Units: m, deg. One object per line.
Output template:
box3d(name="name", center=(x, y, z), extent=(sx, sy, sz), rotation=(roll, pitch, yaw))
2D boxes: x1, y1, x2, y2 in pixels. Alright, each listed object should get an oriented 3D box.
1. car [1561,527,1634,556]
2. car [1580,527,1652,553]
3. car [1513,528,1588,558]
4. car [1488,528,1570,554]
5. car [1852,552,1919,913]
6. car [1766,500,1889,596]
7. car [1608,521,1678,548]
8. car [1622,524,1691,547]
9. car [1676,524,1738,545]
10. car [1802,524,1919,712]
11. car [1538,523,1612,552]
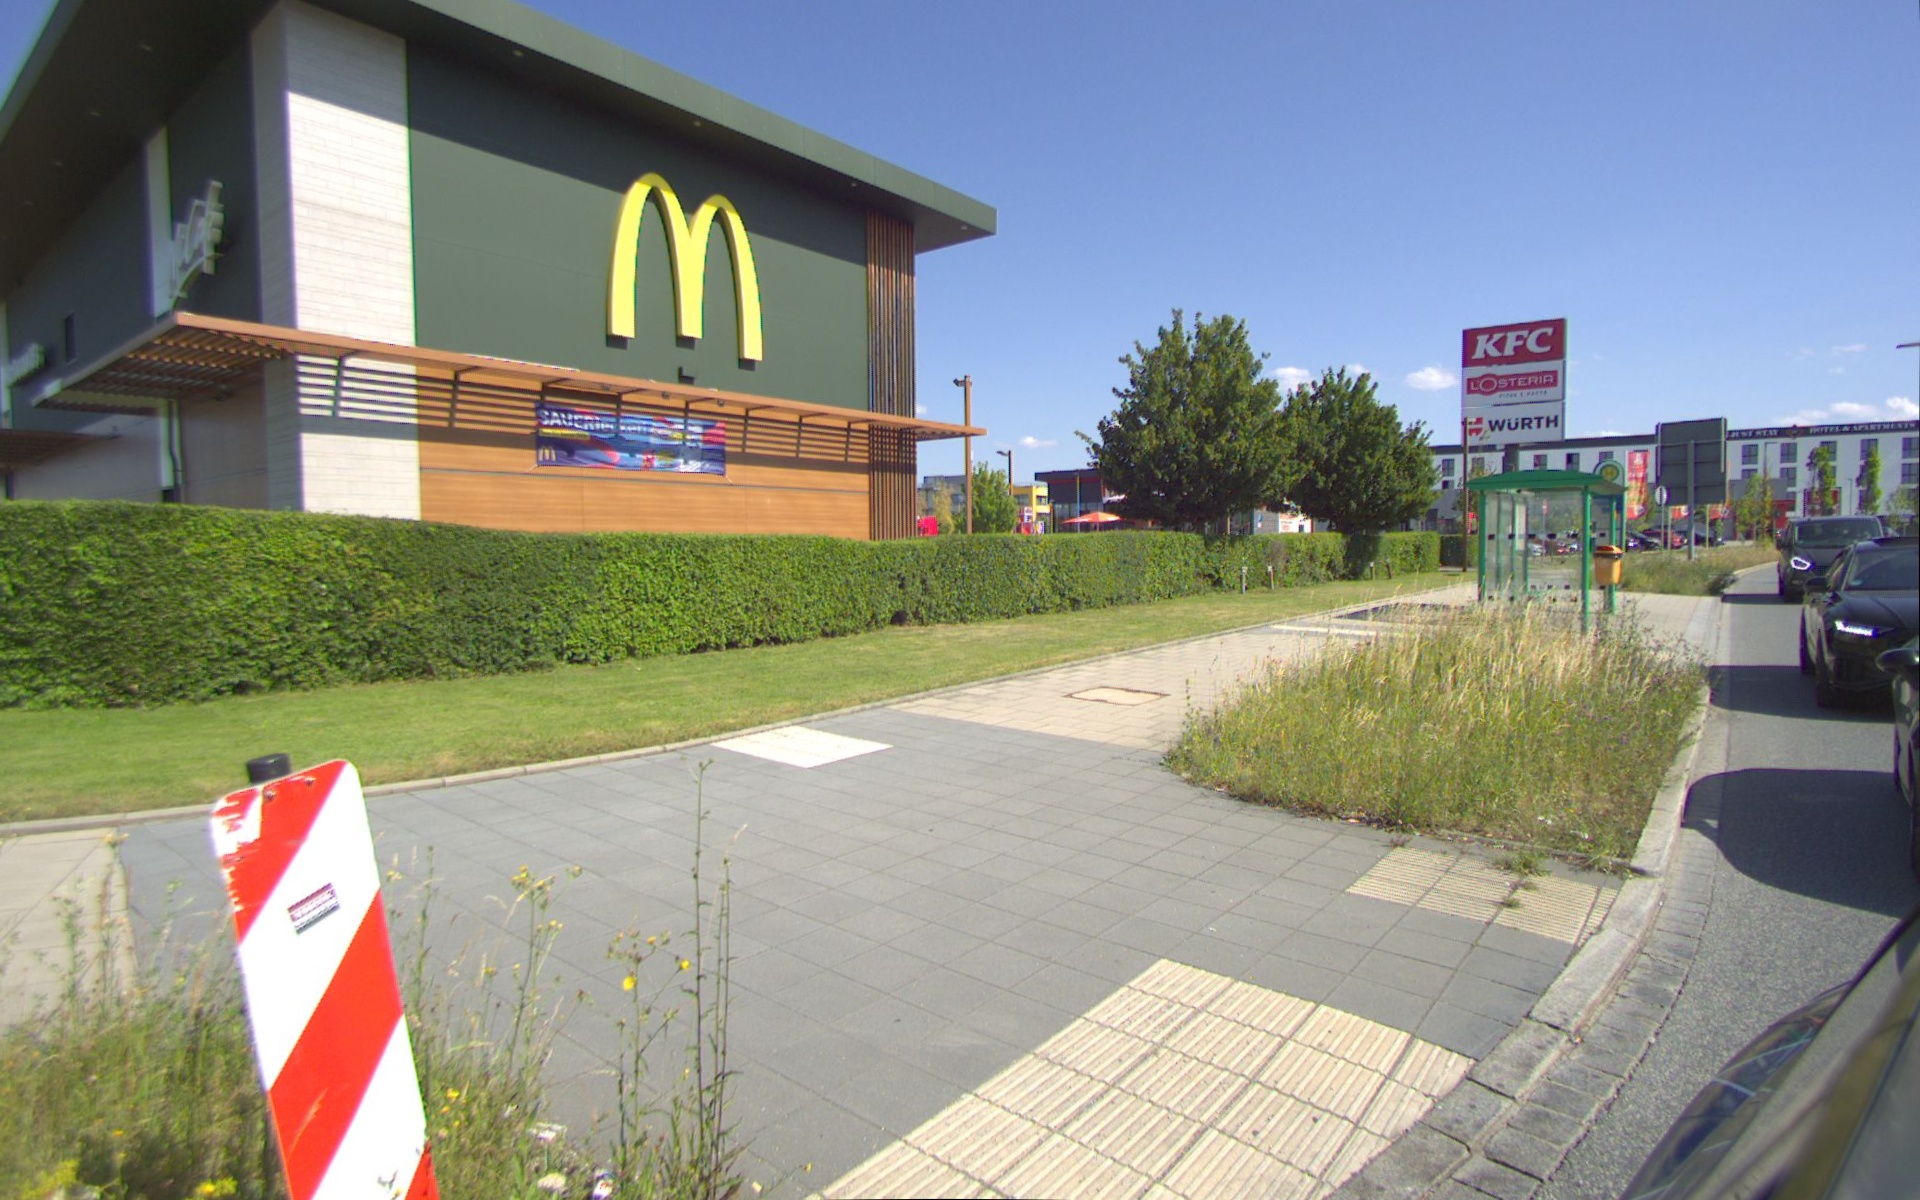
box3d(name="car", center=(47.258, -4.320, 75.118), extent=(1.898, 2.038, 4.187), rotation=(-3, 4, -36))
box3d(name="car", center=(49.358, -4.474, 76.225), extent=(1.768, 1.880, 4.190), rotation=(-3, 3, -33))
box3d(name="car", center=(41.524, -3.982, 71.244), extent=(1.897, 2.038, 4.187), rotation=(-3, 4, -36))
box3d(name="car", center=(38.225, -3.939, 68.026), extent=(1.902, 1.672, 4.433), rotation=(-3, 4, -44))
box3d(name="car", center=(5.922, 0.483, 5.168), extent=(1.857, 1.486, 3.938), rotation=(-1, 2, 44))
box3d(name="car", center=(21.140, -1.278, 24.694), extent=(2.072, 2.073, 4.616), rotation=(-2, 2, 41))
box3d(name="car", center=(53.389, -5.079, 79.195), extent=(1.899, 2.038, 4.185), rotation=(-3, 4, -38))
box3d(name="car", center=(55.870, -5.164, 81.186), extent=(1.789, 1.783, 4.190), rotation=(-3, 3, -33))
box3d(name="car", center=(61.902, -5.440, 83.877), extent=(1.725, 1.639, 3.824), rotation=(-3, 4, -37))
box3d(name="car", center=(10.180, 0.065, 10.692), extent=(1.855, 1.709, 3.943), rotation=(-2, 2, 41))
box3d(name="car", center=(44.208, -4.482, 72.837), extent=(1.898, 2.038, 4.186), rotation=(-3, 4, -37))
